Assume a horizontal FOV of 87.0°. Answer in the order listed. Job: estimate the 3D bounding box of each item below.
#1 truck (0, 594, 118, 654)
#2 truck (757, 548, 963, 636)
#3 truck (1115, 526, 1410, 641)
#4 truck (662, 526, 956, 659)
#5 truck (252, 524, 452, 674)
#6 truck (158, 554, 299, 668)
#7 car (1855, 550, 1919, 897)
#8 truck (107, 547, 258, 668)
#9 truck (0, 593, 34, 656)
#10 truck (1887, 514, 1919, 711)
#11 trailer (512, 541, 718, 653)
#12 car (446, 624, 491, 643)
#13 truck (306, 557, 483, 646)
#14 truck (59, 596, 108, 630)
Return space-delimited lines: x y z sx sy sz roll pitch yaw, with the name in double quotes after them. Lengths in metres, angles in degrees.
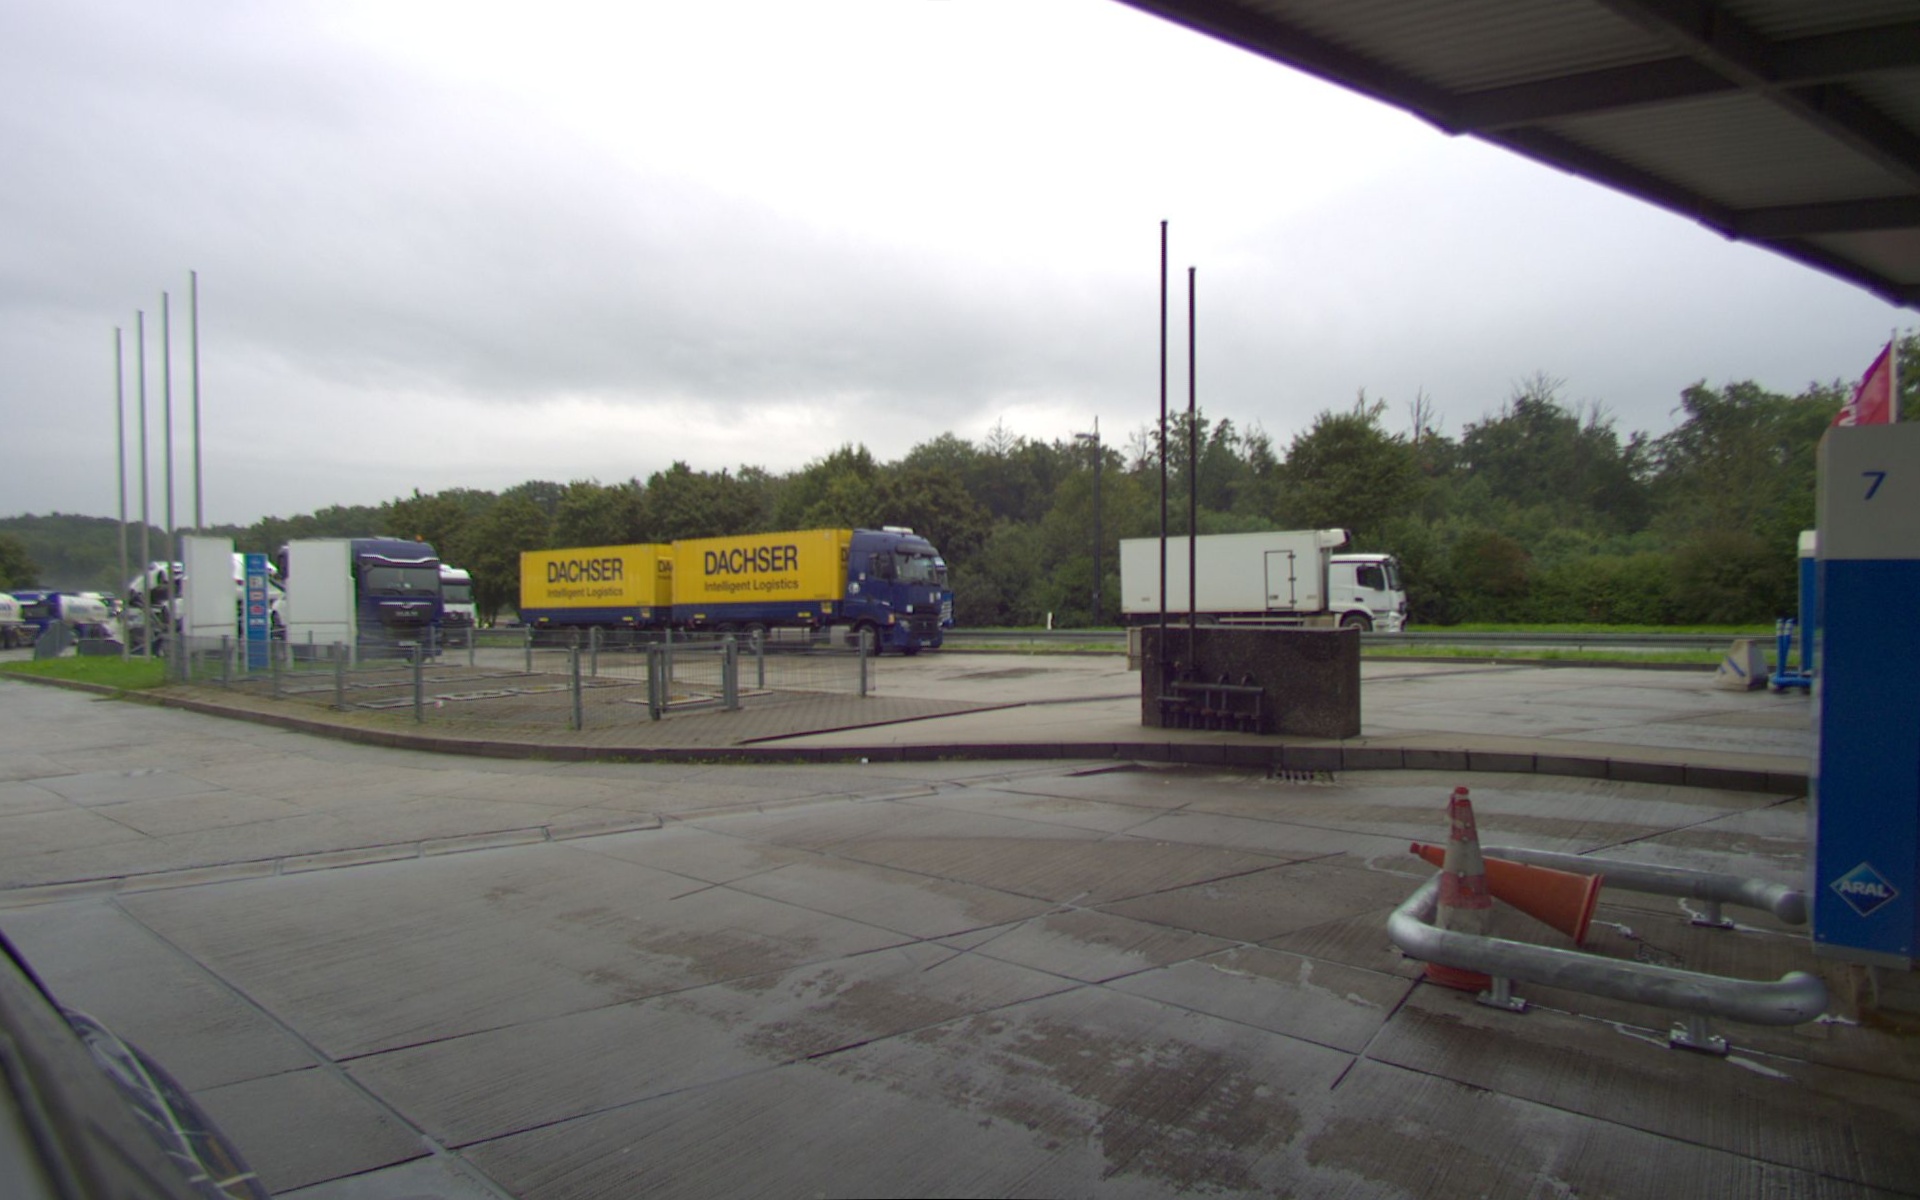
-61.492 1.629 68.656 3.454 3.633 14.709 -1 -1 -27 "truck"
-4.877 -0.307 47.642 10.195 3.836 2.395 -1 0 31 "truck"
10.971 -0.512 37.446 10.195 3.836 2.395 -1 0 31 "truck"
-5.336 -0.174 34.027 10.654 3.946 2.727 -1 0 33 "truck"
-19.008 0.015 31.476 7.089 4.213 2.635 -1 0 35 "truck"
-26.106 0.399 36.072 4.738 3.800 2.635 -1 0 34 "truck"
6.911 0.543 3.798 5.269 1.620 1.842 -1 0 41 "car"
-29.587 0.303 38.446 6.605 4.213 2.635 -1 0 35 "truck"
-55.154 1.343 53.688 3.454 3.633 14.444 -1 -1 -19 "truck"
14.994 0.127 11.952 5.859 2.513 2.208 -1 0 41 "truck"
-13.498 -0.068 39.257 8.679 3.946 2.728 -1 0 32 "trailer"
-47.632 3.219 98.043 3.977 1.772 1.875 -1 0 25 "car"
-27.317 0.110 48.627 10.654 3.946 2.727 -1 0 33 "truck"
-134.480 1.980 155.154 11.498 5.160 3.109 -1 0 36 "truck"
